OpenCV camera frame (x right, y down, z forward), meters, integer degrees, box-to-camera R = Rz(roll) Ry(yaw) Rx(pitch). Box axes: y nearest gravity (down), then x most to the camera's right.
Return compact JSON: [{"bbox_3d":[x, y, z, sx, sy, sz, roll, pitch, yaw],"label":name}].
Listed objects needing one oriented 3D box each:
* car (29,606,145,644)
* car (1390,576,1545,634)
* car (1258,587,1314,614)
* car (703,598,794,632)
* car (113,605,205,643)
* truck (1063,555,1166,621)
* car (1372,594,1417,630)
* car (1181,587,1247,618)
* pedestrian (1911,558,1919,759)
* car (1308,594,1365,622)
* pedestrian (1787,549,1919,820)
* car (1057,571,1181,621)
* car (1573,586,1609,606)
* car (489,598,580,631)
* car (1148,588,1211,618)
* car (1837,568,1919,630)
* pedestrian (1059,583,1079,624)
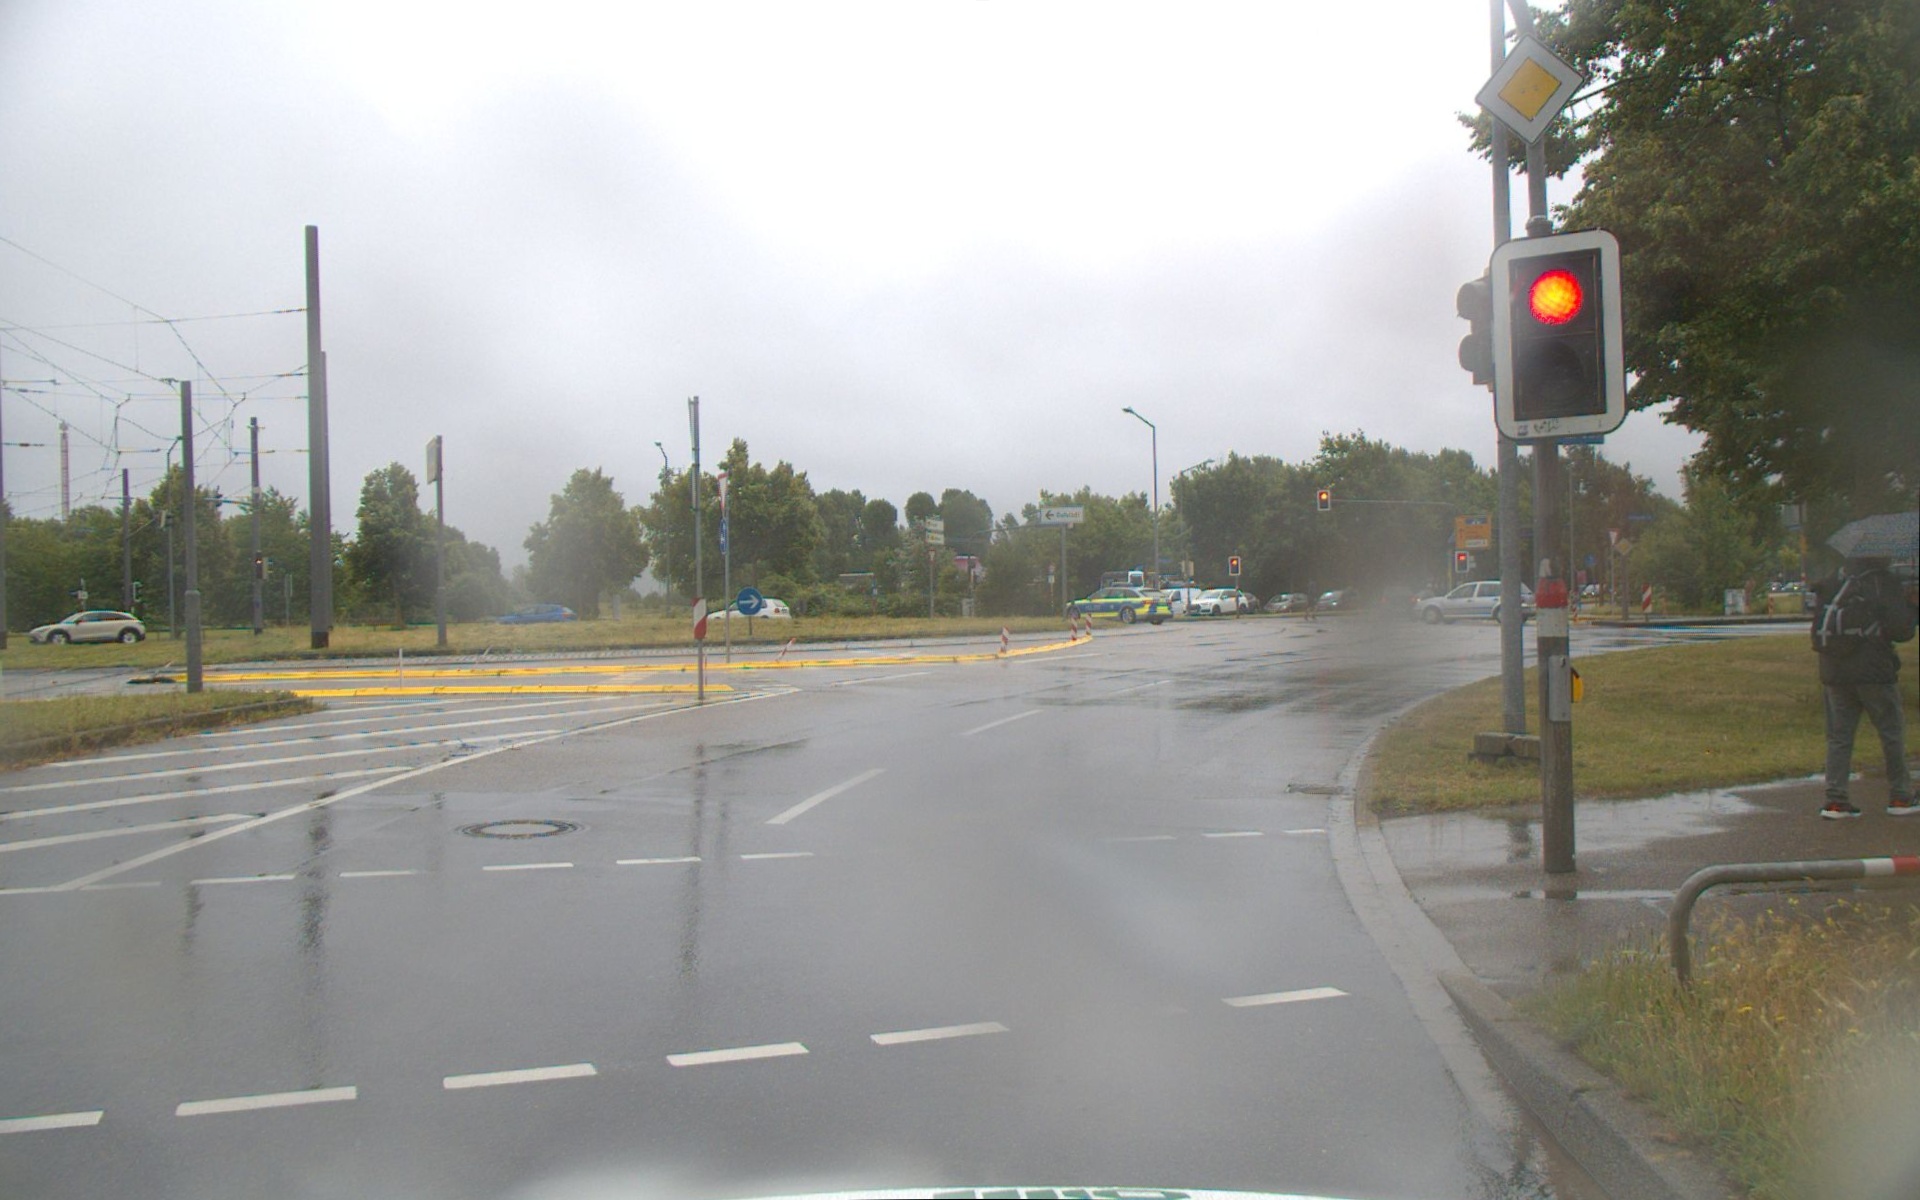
[{"bbox_3d":[-36.764,1.036,69.729,4.079,1.479,1.598,-1,0,-43],"label":"car"},{"bbox_3d":[17.279,0.165,56.433,4.681,1.884,1.992,0,-1,36],"label":"car"},{"bbox_3d":[21.455,0.018,108.767,1.769,1.691,4.386,-1,0,40],"label":"car"},{"bbox_3d":[-9.800,0.687,76.728,3.889,1.479,1.625,-1,0,10],"label":"car"},{"bbox_3d":[-40.616,1.224,83.976,1.644,1.848,3.994,1,-1,28],"label":"car"},{"bbox_3d":[7.092,-0.494,74.717,2.411,2.733,8.058,1,-1,22],"label":"truck"},{"bbox_3d":[18.717,0.501,71.356,1.583,1.479,3.991,-1,0,11],"label":"car"},{"bbox_3d":[14.584,0.163,94.801,1.769,1.691,4.386,0,-1,40],"label":"car"},{"bbox_3d":[6.691,0.451,10.709,0.667,1.486,0.573,-2,-1,-5],"label":"pedestrian"},{"bbox_3d":[24.290,0.518,106.663,1.769,1.691,4.386,0,-1,40],"label":"car"},{"bbox_3d":[5.438,0.487,9.877,0.608,1.549,0.741,1,0,-2],"label":"pedestrian"},{"bbox_3d":[6.144,-0.149,64.414,1.984,1.883,4.700,-1,0,-43],"label":"car"},{"bbox_3d":[55.608,-0.339,145.741,1.769,1.691,3.979,0,-1,40],"label":"car"},{"bbox_3d":[-20.370,0.689,79.248,3.892,1.479,1.624,-1,0,1],"label":"car"},{"bbox_3d":[12.970,0.170,97.456,1.769,1.691,4.112,0,-1,40],"label":"car"},{"bbox_3d":[30.495,0.005,52.111,4.659,1.884,2.001,1,-1,7],"label":"car"},{"bbox_3d":[3.586,0.122,54.390,0.445,1.327,0.484,-1,0,38],"label":"pedestrian"}]
